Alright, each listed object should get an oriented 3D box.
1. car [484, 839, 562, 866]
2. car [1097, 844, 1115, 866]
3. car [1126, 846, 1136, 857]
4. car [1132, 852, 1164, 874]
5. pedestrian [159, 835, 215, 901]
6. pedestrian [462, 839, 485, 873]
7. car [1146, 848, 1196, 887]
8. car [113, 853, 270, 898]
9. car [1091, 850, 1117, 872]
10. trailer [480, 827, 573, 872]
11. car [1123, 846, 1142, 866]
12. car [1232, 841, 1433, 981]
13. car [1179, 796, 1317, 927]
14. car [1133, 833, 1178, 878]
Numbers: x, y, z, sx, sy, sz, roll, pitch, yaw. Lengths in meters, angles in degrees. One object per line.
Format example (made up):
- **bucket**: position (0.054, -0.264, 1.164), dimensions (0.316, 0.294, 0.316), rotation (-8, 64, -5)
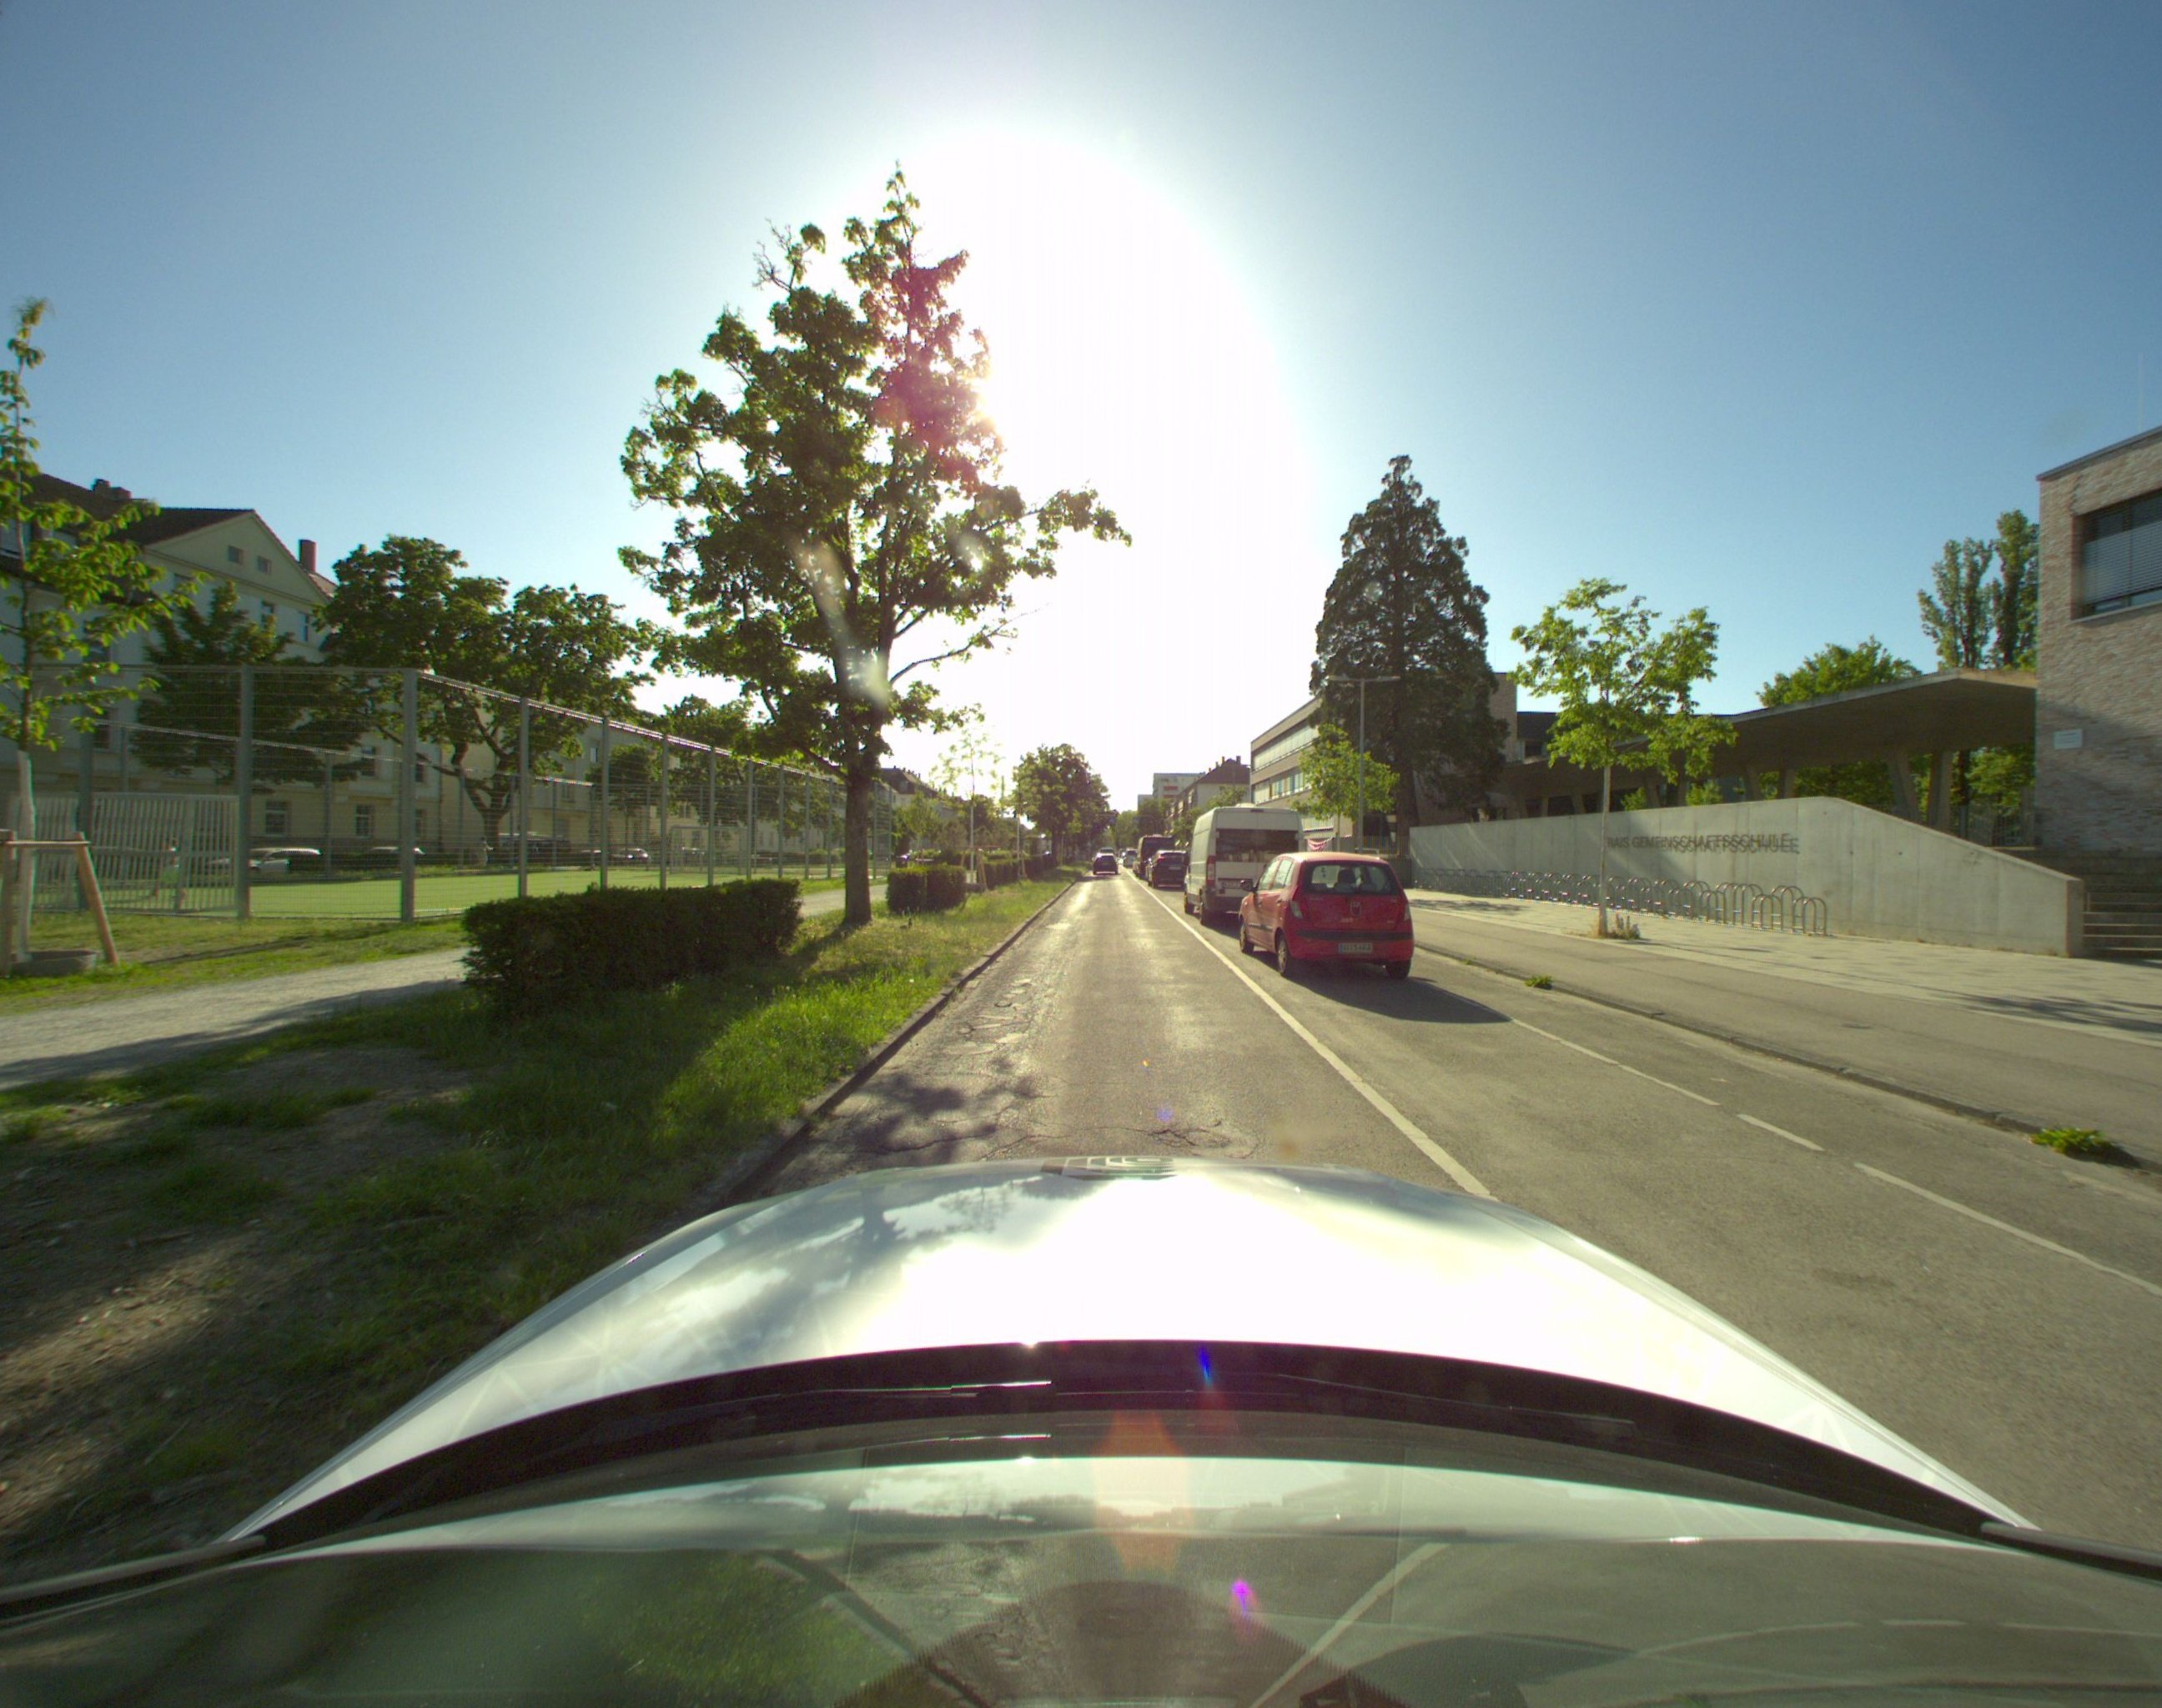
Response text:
- **car**: position (-33.432, -0.093, 48.901), dimensions (1.787, 1.510, 4.002), rotation (1, 0, 2)
- **car**: position (2.562, 0.107, 82.929), dimensions (1.787, 2.122, 4.002), rotation (1, 0, 2)
- **car**: position (11.108, -0.583, 180.778), dimensions (1.986, 2.430, 4.502), rotation (2, 0, 2)
- **car**: position (4.532, 0.601, 55.766), dimensions (1.986, 1.420, 4.638), rotation (0, 0, 2)
- **pedestrian**: position (-18.548, 0.280, 16.894), dimensions (0.642, 1.318, 0.654), rotation (1, 0, 31)
- **pedestrian**: position (-29.672, 0.092, 39.777), dimensions (0.645, 1.661, 0.650), rotation (0, 0, 2)
- **car**: position (3.979, 0.567, 36.569), dimensions (1.839, 1.640, 4.504), rotation (0, 0, 1)
- **car**: position (-38.747, 0.869, 35.667), dimensions (1.787, 1.777, 4.491), rotation (1, 0, 2)
- **car**: position (1.642, 0.481, 57.978), dimensions (1.787, 1.510, 4.002), rotation (1, 0, 2)
- **trailer**: position (-37.948, -0.322, 55.987), dimensions (2.335, 2.870, 5.804), rotation (1, 0, 1)
- **car**: position (5.216, 0.183, 82.399), dimensions (1.786, 1.855, 4.418), rotation (1, 0, 4)
- **car**: position (3.221, 0.636, 11.137), dimensions (1.614, 1.588, 3.591), rotation (1, 0, 0)
- **car**: position (3.658, 0.143, 18.916), dimensions (2.232, 2.574, 5.435), rotation (1, 0, 2)
- **car**: position (4.371, 0.051, 48.827), dimensions (2.108, 2.515, 6.532), rotation (0, 0, 0)
